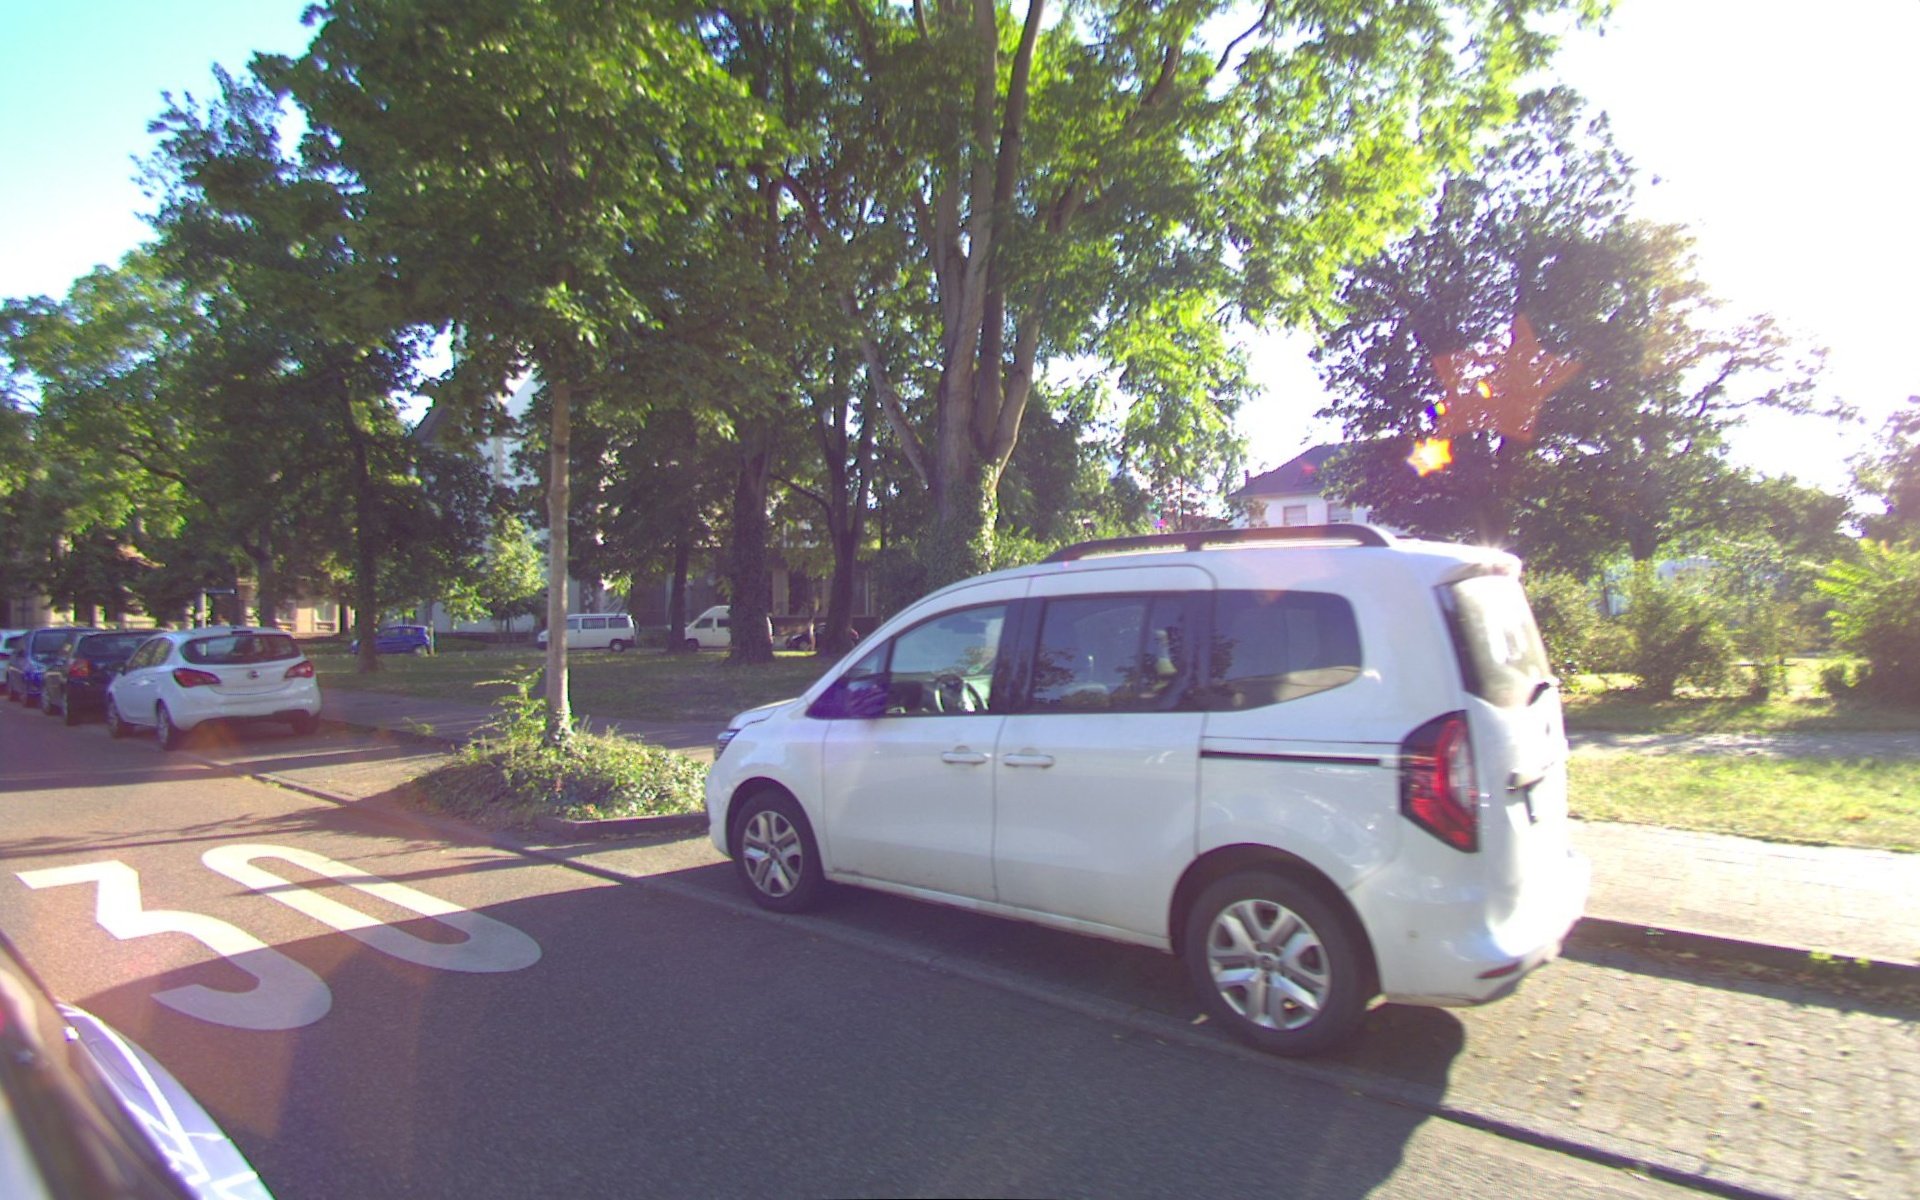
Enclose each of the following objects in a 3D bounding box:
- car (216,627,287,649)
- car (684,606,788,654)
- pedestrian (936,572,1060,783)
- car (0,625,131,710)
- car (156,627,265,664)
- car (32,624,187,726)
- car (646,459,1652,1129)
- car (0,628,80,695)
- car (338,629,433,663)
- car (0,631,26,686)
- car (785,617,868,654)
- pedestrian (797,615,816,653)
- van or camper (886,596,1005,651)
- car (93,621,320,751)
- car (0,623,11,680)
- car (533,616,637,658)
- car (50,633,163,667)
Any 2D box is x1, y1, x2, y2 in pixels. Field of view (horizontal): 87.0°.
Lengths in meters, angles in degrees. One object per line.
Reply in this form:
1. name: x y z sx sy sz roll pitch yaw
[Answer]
1. car: -55.280 2.954 79.015 1.998 1.668 4.165 -2 -2 39
2. car: -11.715 1.535 52.962 5.096 2.374 1.863 0 -2 -21
3. pedestrian: 0.343 0.677 9.172 0.944 1.798 0.594 -2 -2 36
4. car: -18.180 1.298 20.422 3.703 1.507 1.621 -2 0 41
5. car: -34.248 2.071 46.349 3.634 1.591 1.715 0 -1 -15
6. car: -14.396 1.183 17.063 3.942 1.506 1.534 -2 -2 43
7. car: 0.541 0.599 4.948 4.547 1.855 1.763 -2 -2 39
8. car: -22.447 1.433 24.116 3.972 1.417 1.673 -2 0 41
9. car: -27.325 2.186 48.250 3.634 1.513 1.626 0 -1 -15
10. car: -26.997 1.621 27.936 3.424 1.434 1.373 -2 0 41
11. car: -7.170 1.876 54.368 4.072 1.900 1.863 0 -2 -21
12. pedestrian: -6.503 1.461 42.947 0.756 1.587 0.776 -1 -2 -5
13. van or camper: -0.815 1.279 56.367 6.223 2.930 2.103 0 -2 -18
14. car: -10.382 1.081 13.853 3.860 1.538 1.576 -2 -2 39
15. car: -30.686 1.605 31.079 4.318 1.688 1.783 -2 0 41
16. car: -18.694 1.832 50.639 4.758 1.961 1.862 0 -1 -15
17. car: -38.337 2.243 45.542 3.545 1.451 1.622 0 -3 -14
